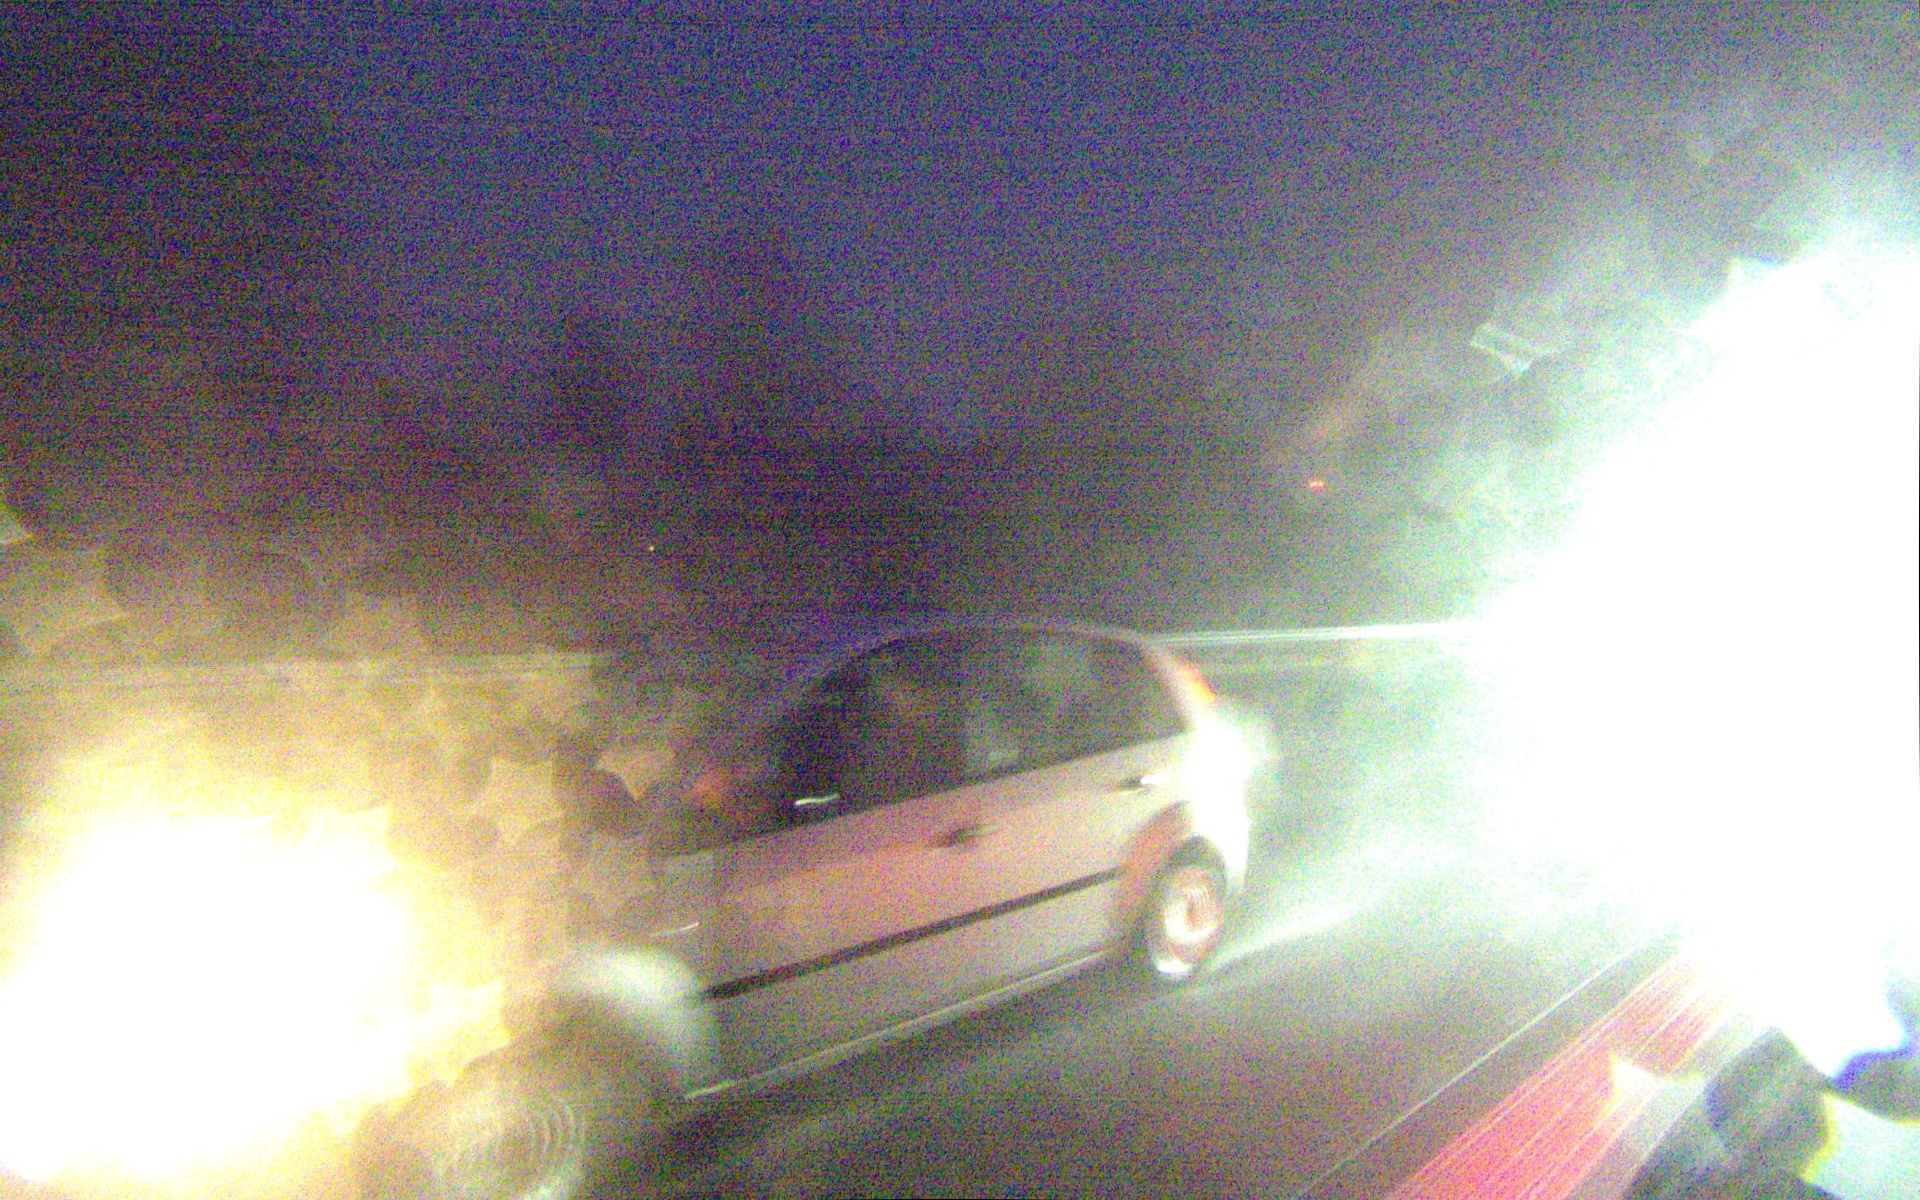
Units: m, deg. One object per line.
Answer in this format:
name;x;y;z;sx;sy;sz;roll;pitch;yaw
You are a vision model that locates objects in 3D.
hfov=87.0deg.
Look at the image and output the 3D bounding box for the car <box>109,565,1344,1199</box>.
car;-0.435;0.666;3.740;4.122;1.476;1.772;0;0;-42
